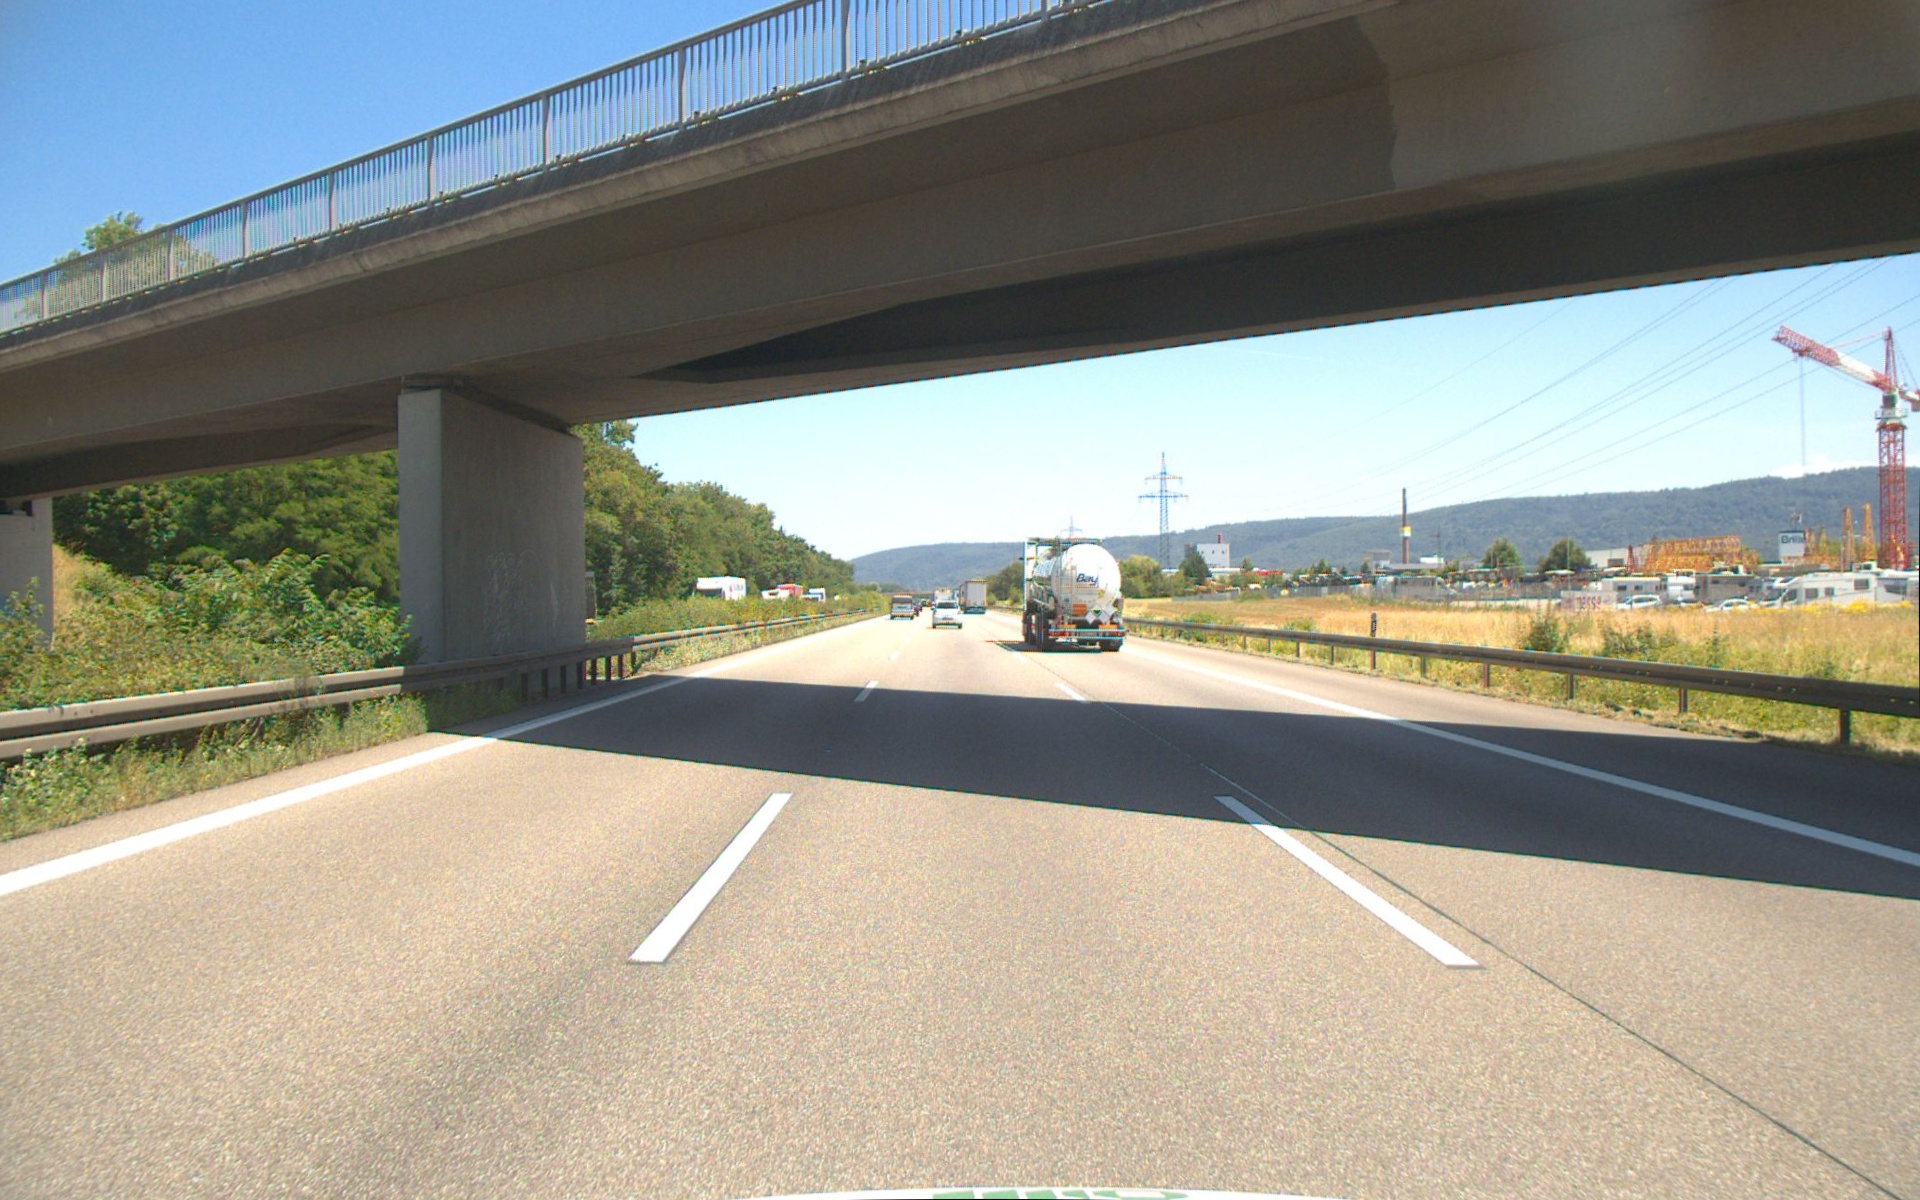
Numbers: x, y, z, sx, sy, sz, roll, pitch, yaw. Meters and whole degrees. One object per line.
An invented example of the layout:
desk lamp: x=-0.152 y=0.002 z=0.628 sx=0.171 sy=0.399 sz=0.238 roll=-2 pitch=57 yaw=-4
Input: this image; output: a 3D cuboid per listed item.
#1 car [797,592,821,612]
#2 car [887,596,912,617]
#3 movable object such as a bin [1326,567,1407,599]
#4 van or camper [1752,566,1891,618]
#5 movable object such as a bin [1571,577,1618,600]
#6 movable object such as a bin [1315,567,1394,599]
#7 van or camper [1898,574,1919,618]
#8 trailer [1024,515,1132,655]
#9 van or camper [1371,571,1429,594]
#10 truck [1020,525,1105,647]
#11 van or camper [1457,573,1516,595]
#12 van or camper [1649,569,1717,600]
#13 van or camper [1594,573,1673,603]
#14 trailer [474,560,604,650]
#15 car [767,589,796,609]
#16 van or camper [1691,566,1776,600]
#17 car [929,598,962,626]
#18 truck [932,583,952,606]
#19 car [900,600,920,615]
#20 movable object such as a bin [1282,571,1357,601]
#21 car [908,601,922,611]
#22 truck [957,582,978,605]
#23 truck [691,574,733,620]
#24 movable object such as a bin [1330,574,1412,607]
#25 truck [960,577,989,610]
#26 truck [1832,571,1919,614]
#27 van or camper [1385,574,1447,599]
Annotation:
car: x=-14.421 y=0.175 z=158.356 sx=2.050 sy=1.811 sz=5.458 roll=1 pitch=0 yaw=-3
car: x=-4.884 y=0.535 z=134.045 sx=1.814 sy=1.661 sz=3.999 roll=1 pitch=0 yaw=-1
movable object such as a bin: x=51.859 y=-2.172 z=211.119 sx=9.511 sy=3.754 sz=2.978 roll=-2 pitch=0 yaw=5
van or camper: x=54.198 y=-0.486 z=104.106 sx=7.583 sy=3.155 sz=2.433 roll=-1 pitch=0 yaw=-3
movable object such as a bin: x=75.422 y=-1.317 z=196.606 sx=2.853 sy=2.599 sz=6.806 roll=-2 pitch=0 yaw=-1
movable object such as a bin: x=51.765 y=-2.207 z=217.142 sx=9.516 sy=3.753 sz=2.977 roll=-2 pitch=0 yaw=1
van or camper: x=67.582 y=-0.304 z=111.319 sx=7.588 sy=2.931 sz=2.601 roll=-1 pitch=0 yaw=-6
trailer: x=3.751 y=-0.466 z=55.246 sx=2.527 sy=4.145 sz=11.100 roll=1 pitch=0 yaw=-1
van or camper: x=50.544 y=-1.984 z=190.060 sx=5.991 sy=2.444 sz=2.602 roll=-1 pitch=0 yaw=1
truck: x=3.658 y=-0.489 z=60.282 sx=2.521 sy=4.143 sz=6.391 roll=1 pitch=0 yaw=-1
van or camper: x=61.861 y=-1.871 z=194.427 sx=5.991 sy=2.444 sz=2.602 roll=-1 pitch=0 yaw=1
van or camper: x=67.381 y=-1.422 z=154.155 sx=5.152 sy=2.724 sz=2.615 roll=-1 pitch=0 yaw=-3
van or camper: x=65.220 y=-1.111 z=160.219 sx=6.223 sy=2.724 sz=3.324 roll=-1 pitch=0 yaw=-2
trailer: x=-20.549 y=0.204 z=81.938 sx=2.559 sy=3.952 sz=15.579 roll=1 pitch=0 yaw=-1
car: x=-17.302 y=-0.107 z=160.473 sx=2.255 sy=1.811 sz=5.423 roll=1 pitch=0 yaw=0
van or camper: x=67.501 y=-1.486 z=144.365 sx=6.316 sy=2.815 sz=2.421 roll=-1 pitch=0 yaw=-3
car: x=-0.789 y=0.655 z=92.467 sx=1.770 sy=1.494 sz=3.999 roll=1 pitch=0 yaw=-1
truck: x=-2.857 y=-0.849 z=263.827 sx=3.034 sy=3.535 sz=11.539 roll=1 pitch=0 yaw=-1
car: x=-4.867 y=0.711 z=161.949 sx=1.798 sy=1.411 sz=3.999 roll=1 pitch=0 yaw=-1
movable object such as a bin: x=51.026 y=-1.960 z=235.012 sx=10.045 sy=3.754 sz=2.393 roll=-2 pitch=0 yaw=-1
car: x=-6.225 y=0.843 z=229.078 sx=1.798 sy=1.411 sz=3.999 roll=1 pitch=0 yaw=-1
truck: x=1.144 y=-0.993 z=261.609 sx=3.034 sy=3.535 sz=11.539 roll=1 pitch=0 yaw=-1
truck: x=-21.180 y=-0.267 z=141.337 sx=2.738 sy=3.786 sz=5.116 roll=1 pitch=0 yaw=-1
movable object such as a bin: x=51.513 y=-1.154 z=207.533 sx=9.511 sy=3.754 sz=3.421 roll=-2 pitch=0 yaw=6
truck: x=1.715 y=-0.794 z=206.068 sx=3.199 sy=3.925 sz=11.628 roll=1 pitch=0 yaw=-1
truck: x=64.654 y=-0.546 z=114.362 sx=7.588 sy=2.931 sz=2.601 roll=-1 pitch=0 yaw=-6
van or camper: x=50.616 y=-1.526 z=183.831 sx=6.212 sy=2.597 sz=2.438 roll=-1 pitch=0 yaw=1
